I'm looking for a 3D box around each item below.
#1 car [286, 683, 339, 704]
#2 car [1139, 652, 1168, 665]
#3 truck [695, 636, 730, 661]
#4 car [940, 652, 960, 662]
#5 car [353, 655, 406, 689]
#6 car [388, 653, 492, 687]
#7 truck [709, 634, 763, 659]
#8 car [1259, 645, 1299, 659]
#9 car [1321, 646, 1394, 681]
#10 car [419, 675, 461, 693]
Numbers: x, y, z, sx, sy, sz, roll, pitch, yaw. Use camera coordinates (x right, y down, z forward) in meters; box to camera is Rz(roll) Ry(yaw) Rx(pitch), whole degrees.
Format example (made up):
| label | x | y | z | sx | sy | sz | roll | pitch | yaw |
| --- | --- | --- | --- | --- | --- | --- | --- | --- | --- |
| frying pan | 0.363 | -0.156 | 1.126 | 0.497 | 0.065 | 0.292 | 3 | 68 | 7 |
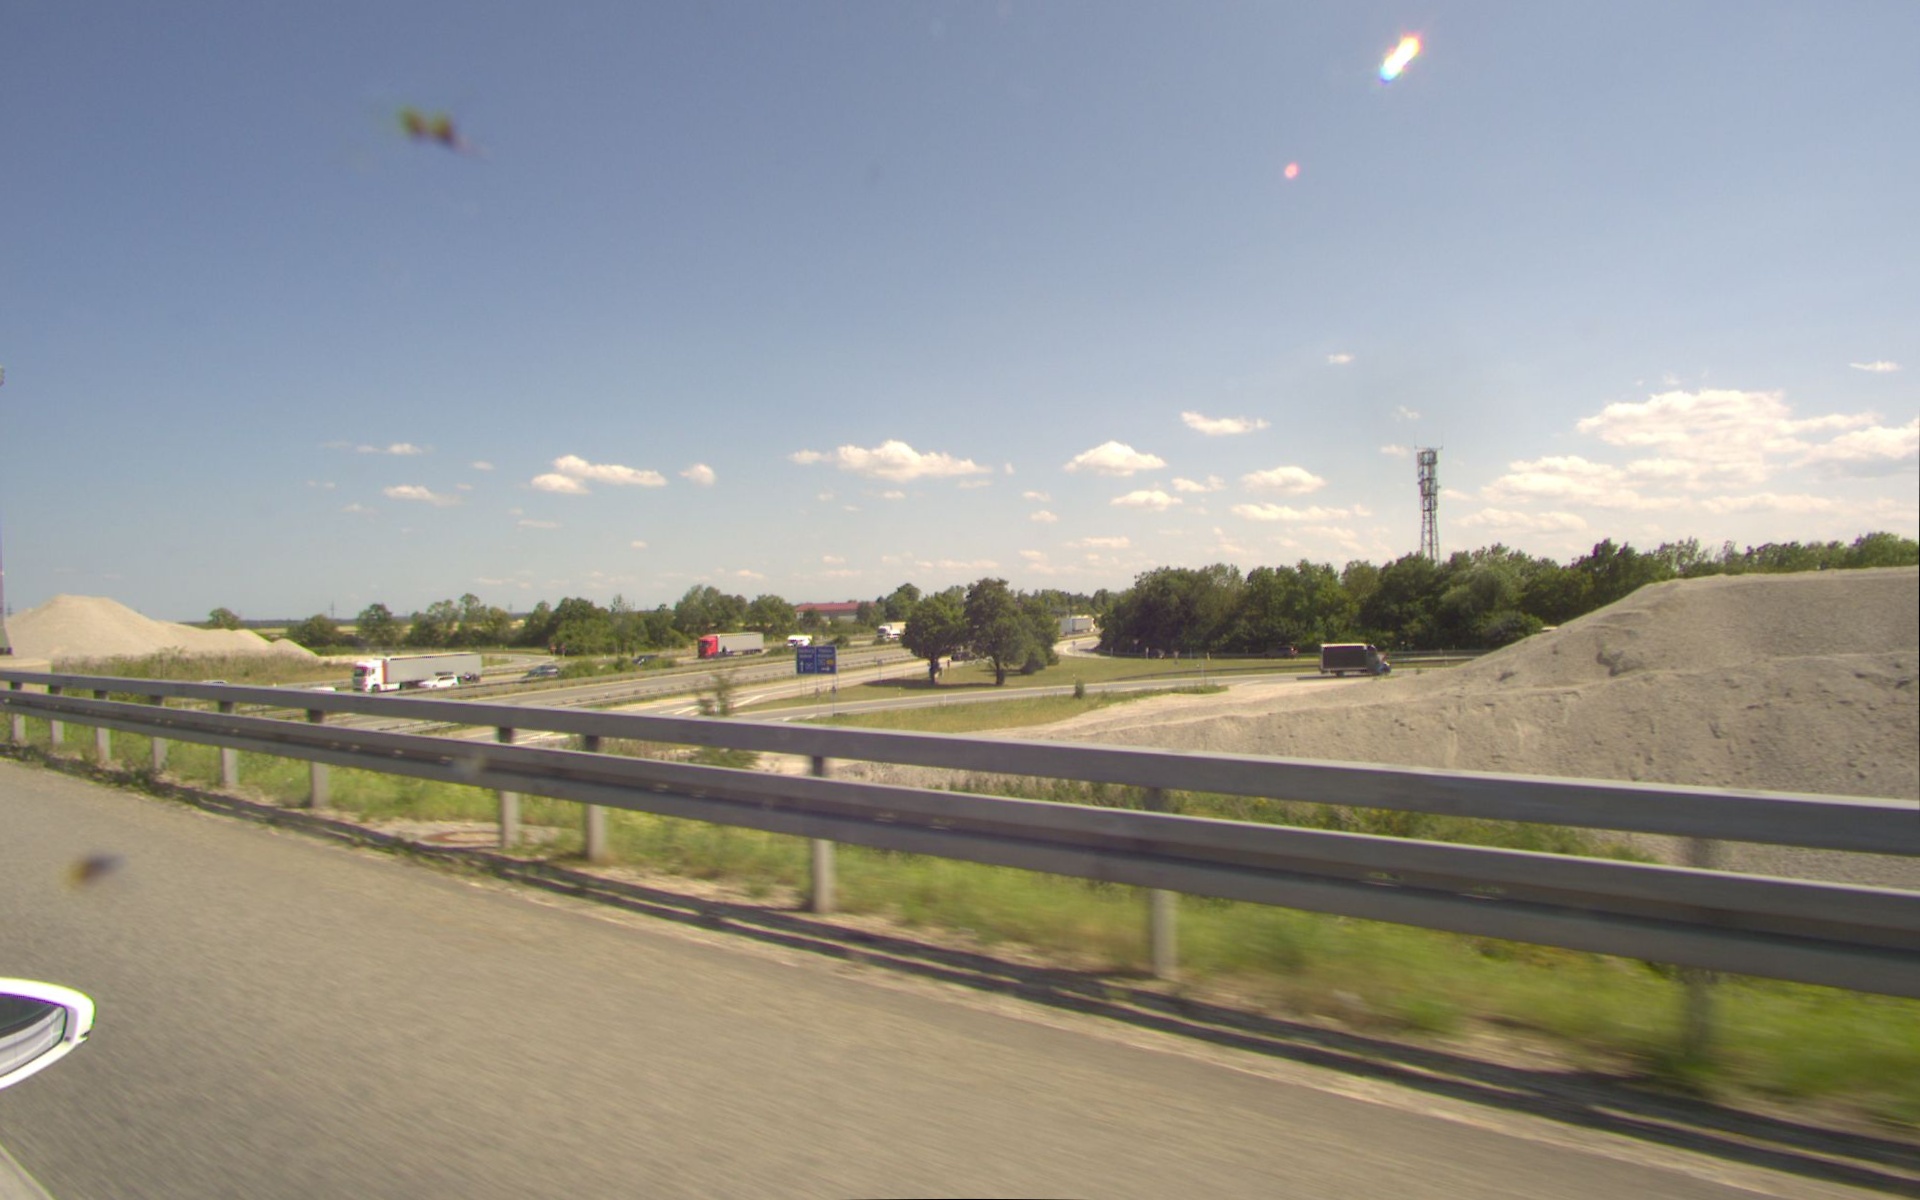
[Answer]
| label | x | y | z | sx | sy | sz | roll | pitch | yaw |
| --- | --- | --- | --- | --- | --- | --- | --- | --- | --- |
| car | -69.056 | 9.954 | 106.865 | 1.968 | 2.039 | 4.396 | -2 | -3 | 26 |
| car | 28.730 | 8.637 | 148.707 | 1.976 | 1.792 | 3.975 | 4 | -6 | -36 |
| truck | -44.661 | 8.802 | 180.913 | 2.823 | 4.119 | 5.936 | -1 | 0 | 25 |
| car | -1.590 | 9.116 | 160.380 | 1.965 | 1.593 | 3.996 | -1 | -4 | 20 |
| car | -70.655 | 8.703 | 121.938 | 2.444 | 4.013 | 5.144 | -1 | -2 | 26 |
| car | -66.978 | 8.952 | 129.483 | 2.443 | 4.013 | 12.973 | -1 | -3 | 26 |
| truck | -41.749 | 8.633 | 187.211 | 2.823 | 4.119 | 12.533 | -1 | 0 | 25 |
| car | 41.979 | 6.866 | 131.845 | 4.611 | 1.827 | 1.751 | -3 | -5 | 37 |
| car | 41.994 | 6.721 | 106.041 | 6.949 | 3.672 | 2.000 | -1 | -4 | 16 |
| car | -65.380 | 10.582 | 125.917 | 1.968 | 2.039 | 4.396 | -2 | -3 | 26 |
